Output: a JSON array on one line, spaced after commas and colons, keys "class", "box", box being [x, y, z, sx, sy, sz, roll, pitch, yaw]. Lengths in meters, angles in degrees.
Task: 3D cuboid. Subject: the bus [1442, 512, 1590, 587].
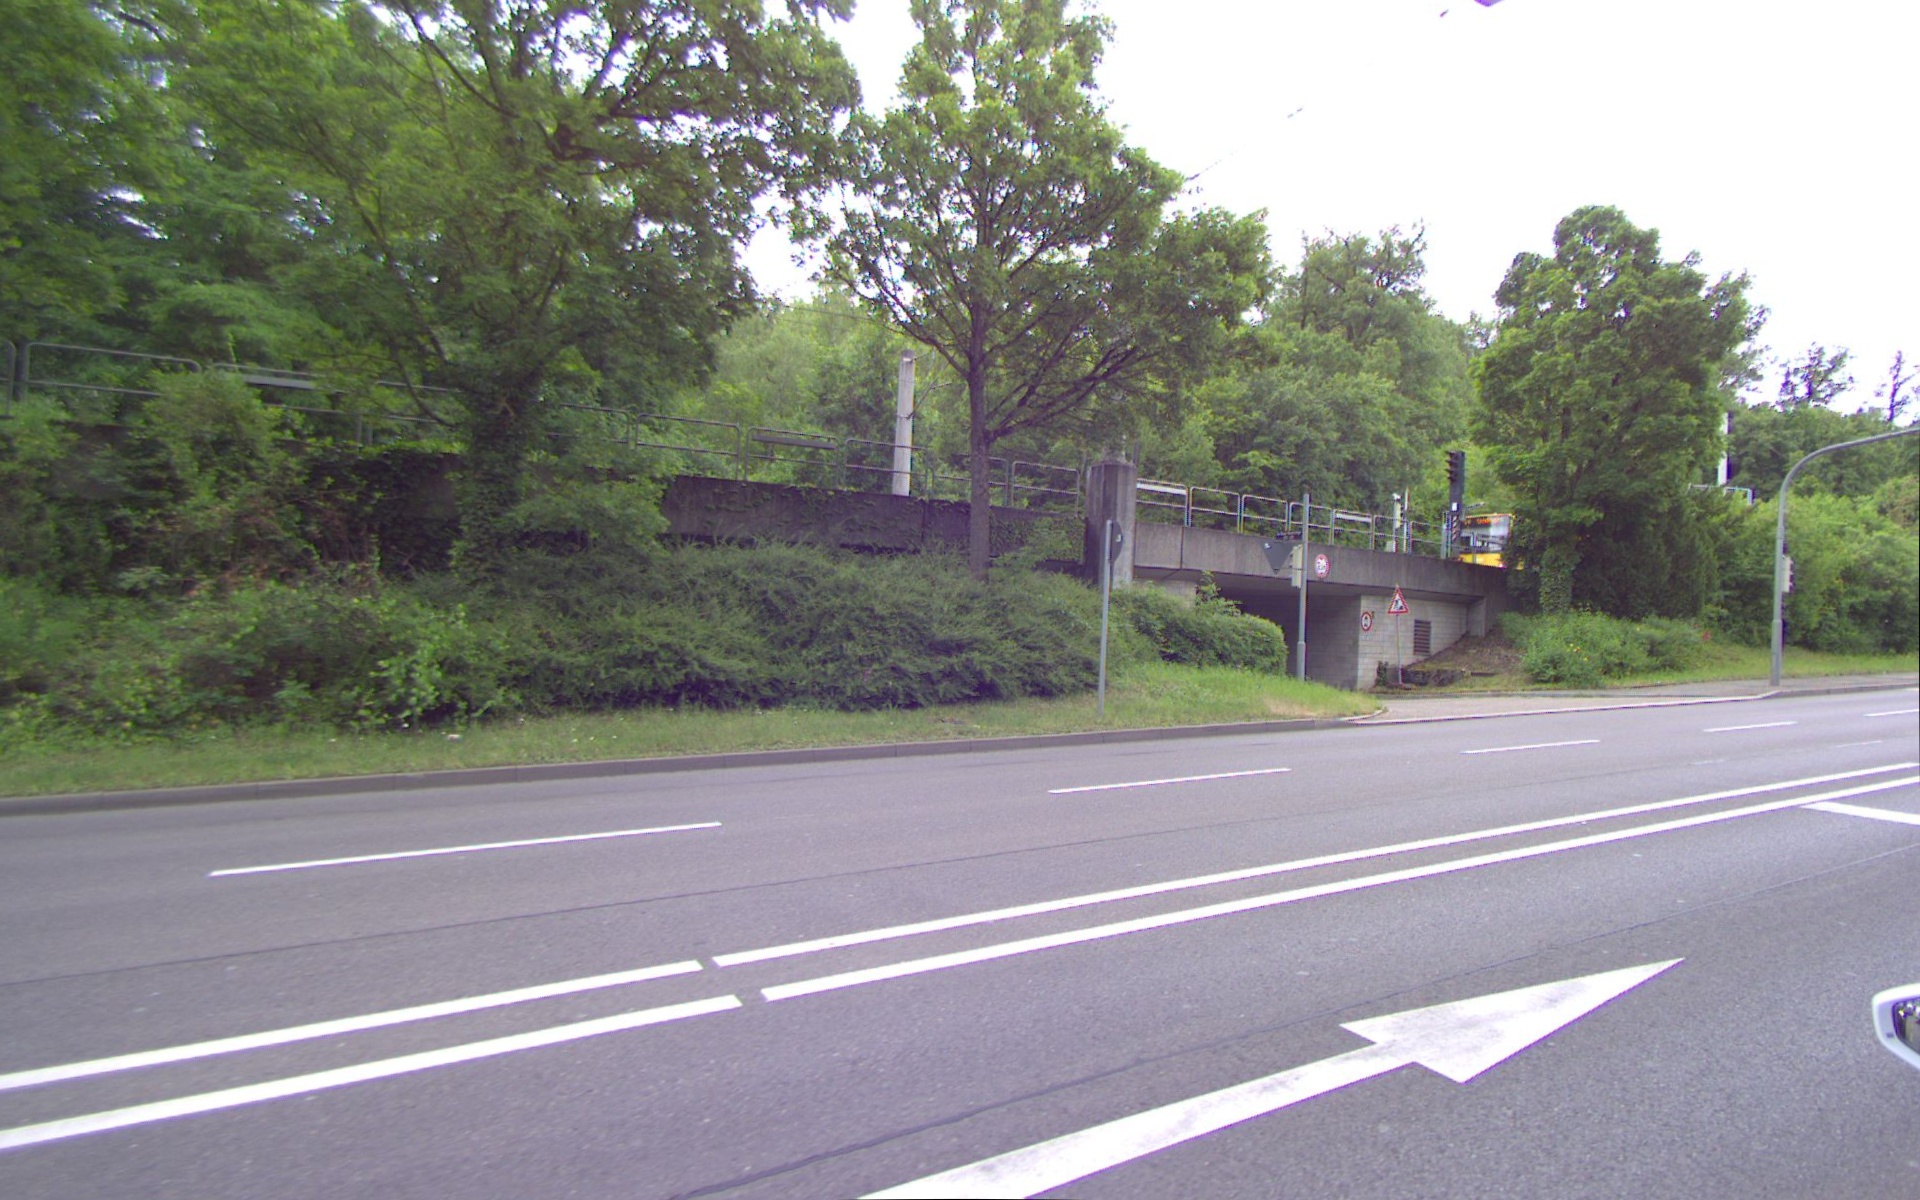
[{"class": "bus", "box": [26.264, -2.245, 47.348, 7.852, 2.825, 2.528, 3, -3, -31]}]
